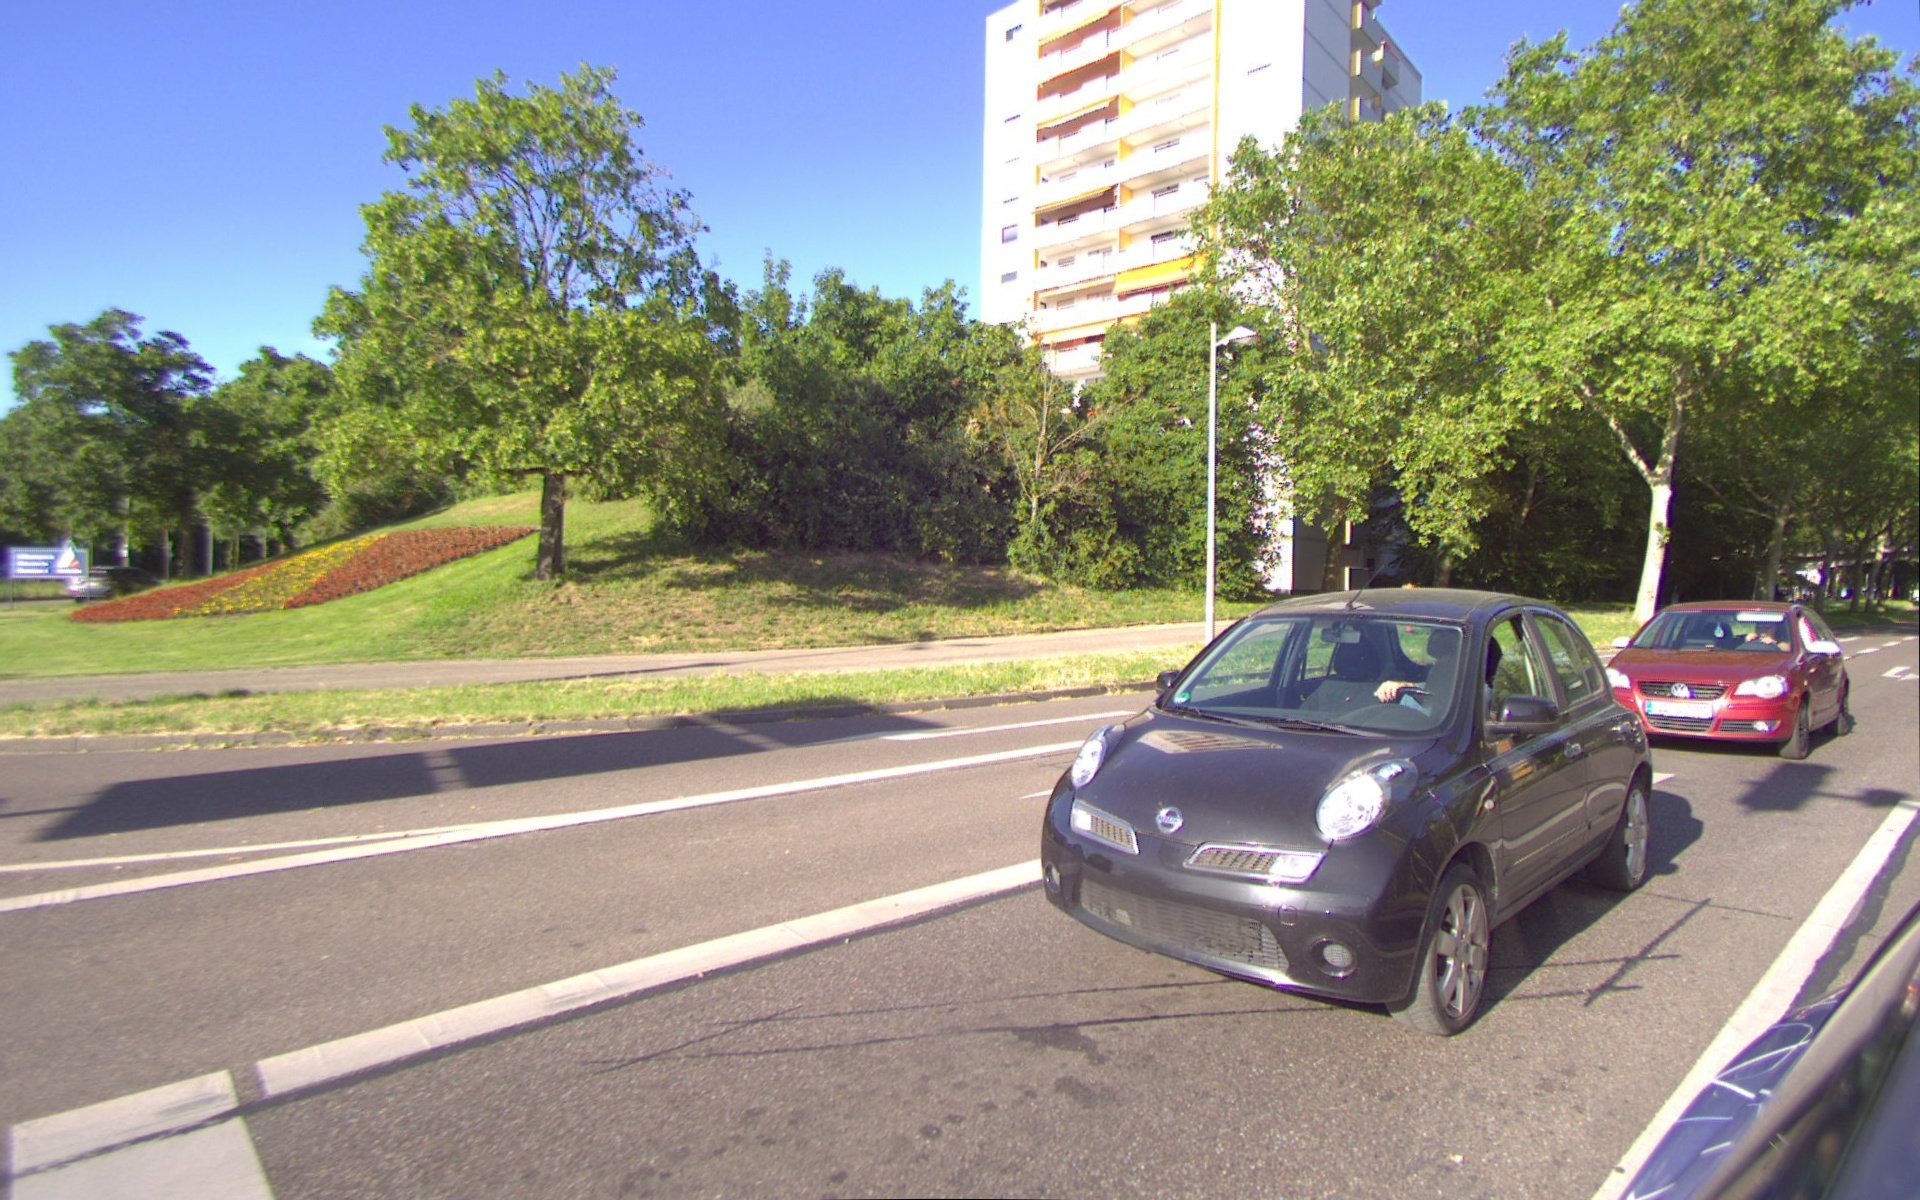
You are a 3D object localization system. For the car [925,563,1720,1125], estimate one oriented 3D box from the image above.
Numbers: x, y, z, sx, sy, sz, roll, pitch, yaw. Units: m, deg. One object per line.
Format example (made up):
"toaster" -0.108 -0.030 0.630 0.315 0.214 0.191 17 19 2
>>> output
"car" 2.108 0.634 4.897 4.544 1.501 1.737 0 1 -43

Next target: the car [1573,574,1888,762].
"car" 8.288 0.552 10.705 4.644 1.578 1.770 0 1 -41

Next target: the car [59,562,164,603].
"car" -38.223 -0.797 45.749 1.958 1.725 4.703 0 1 -18
